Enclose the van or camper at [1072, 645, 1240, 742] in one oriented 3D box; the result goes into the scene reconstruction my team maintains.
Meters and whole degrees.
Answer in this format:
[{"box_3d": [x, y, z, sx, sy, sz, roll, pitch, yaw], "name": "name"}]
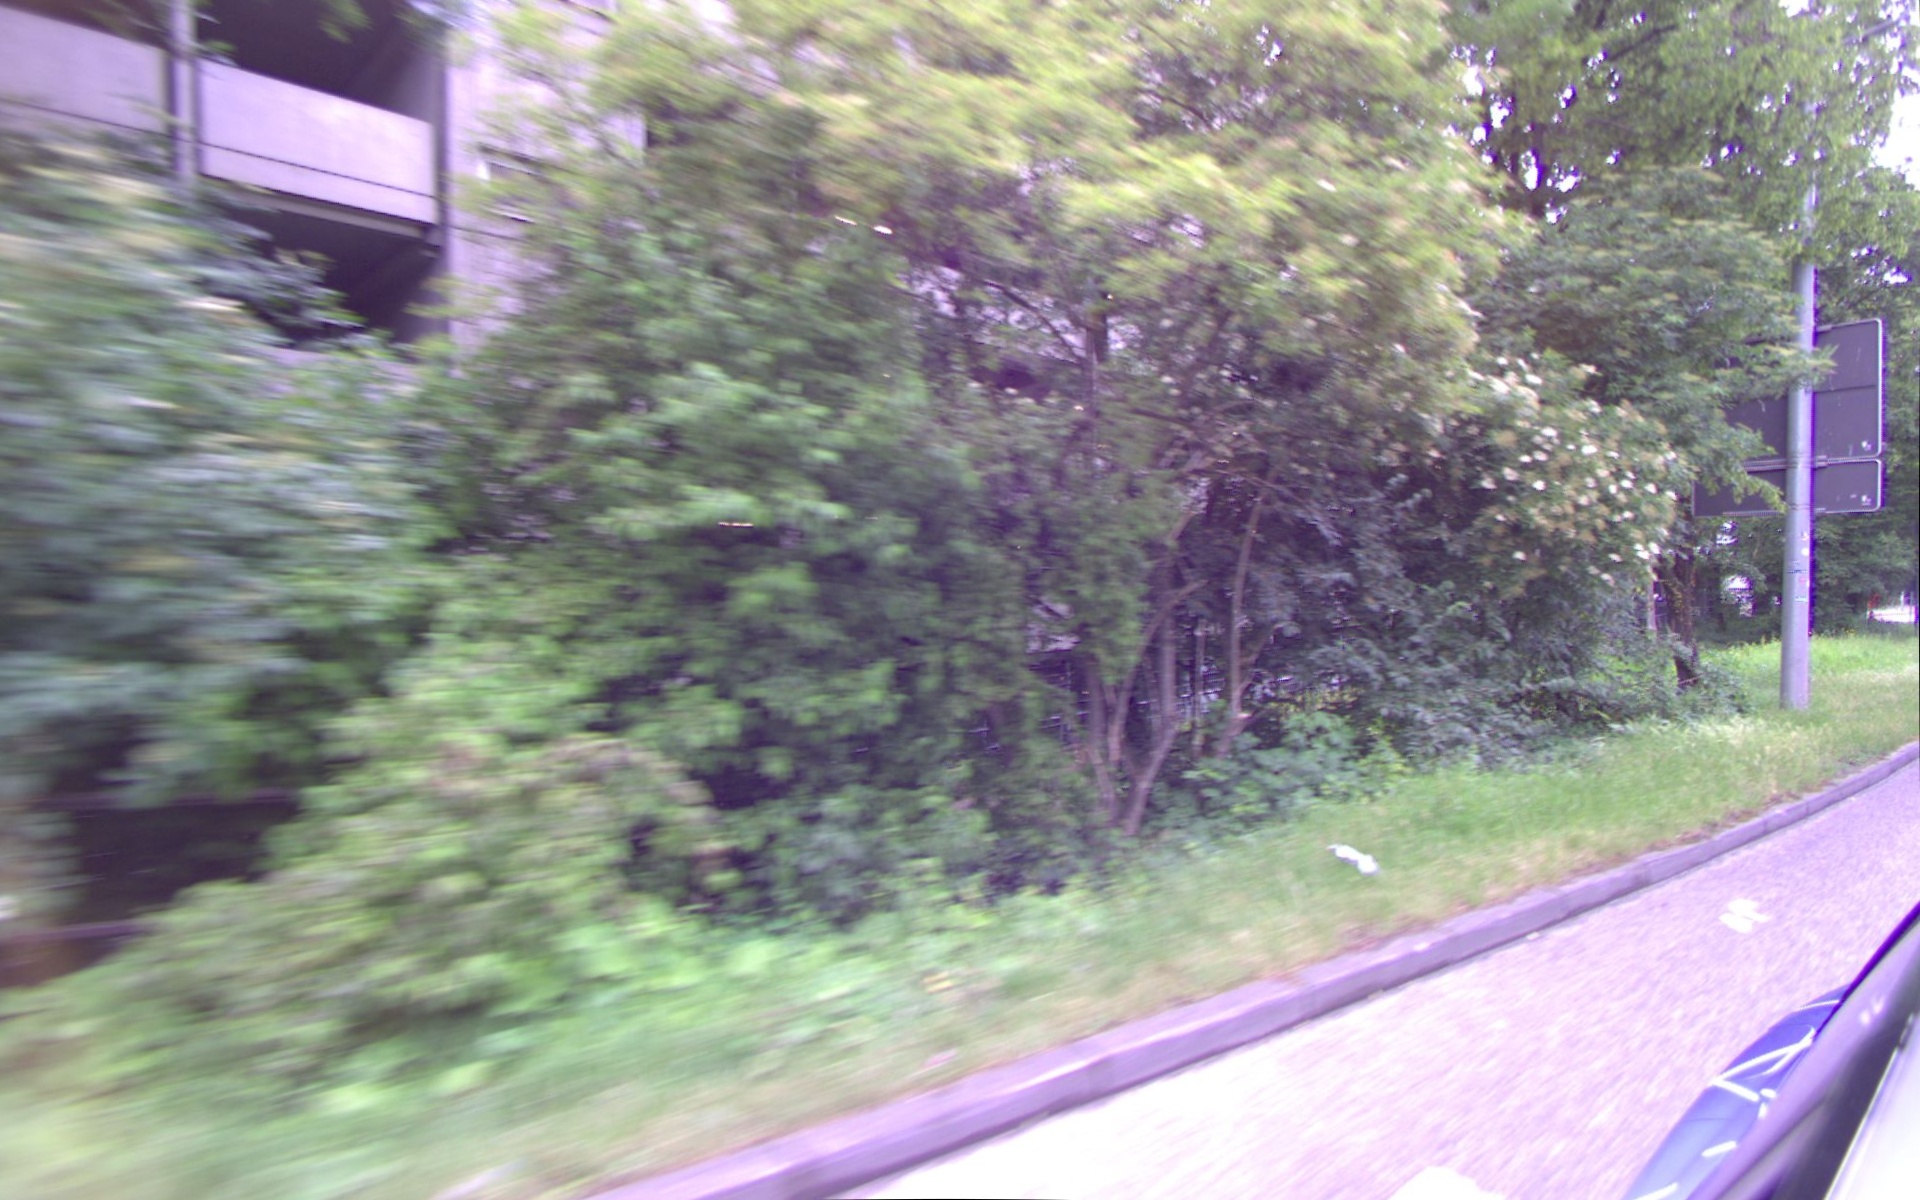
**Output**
[{"box_3d": [5.077, 2.361, 26.586, 4.007, 1.978, 1.811, 3, 3, 45], "name": "van or camper"}]
